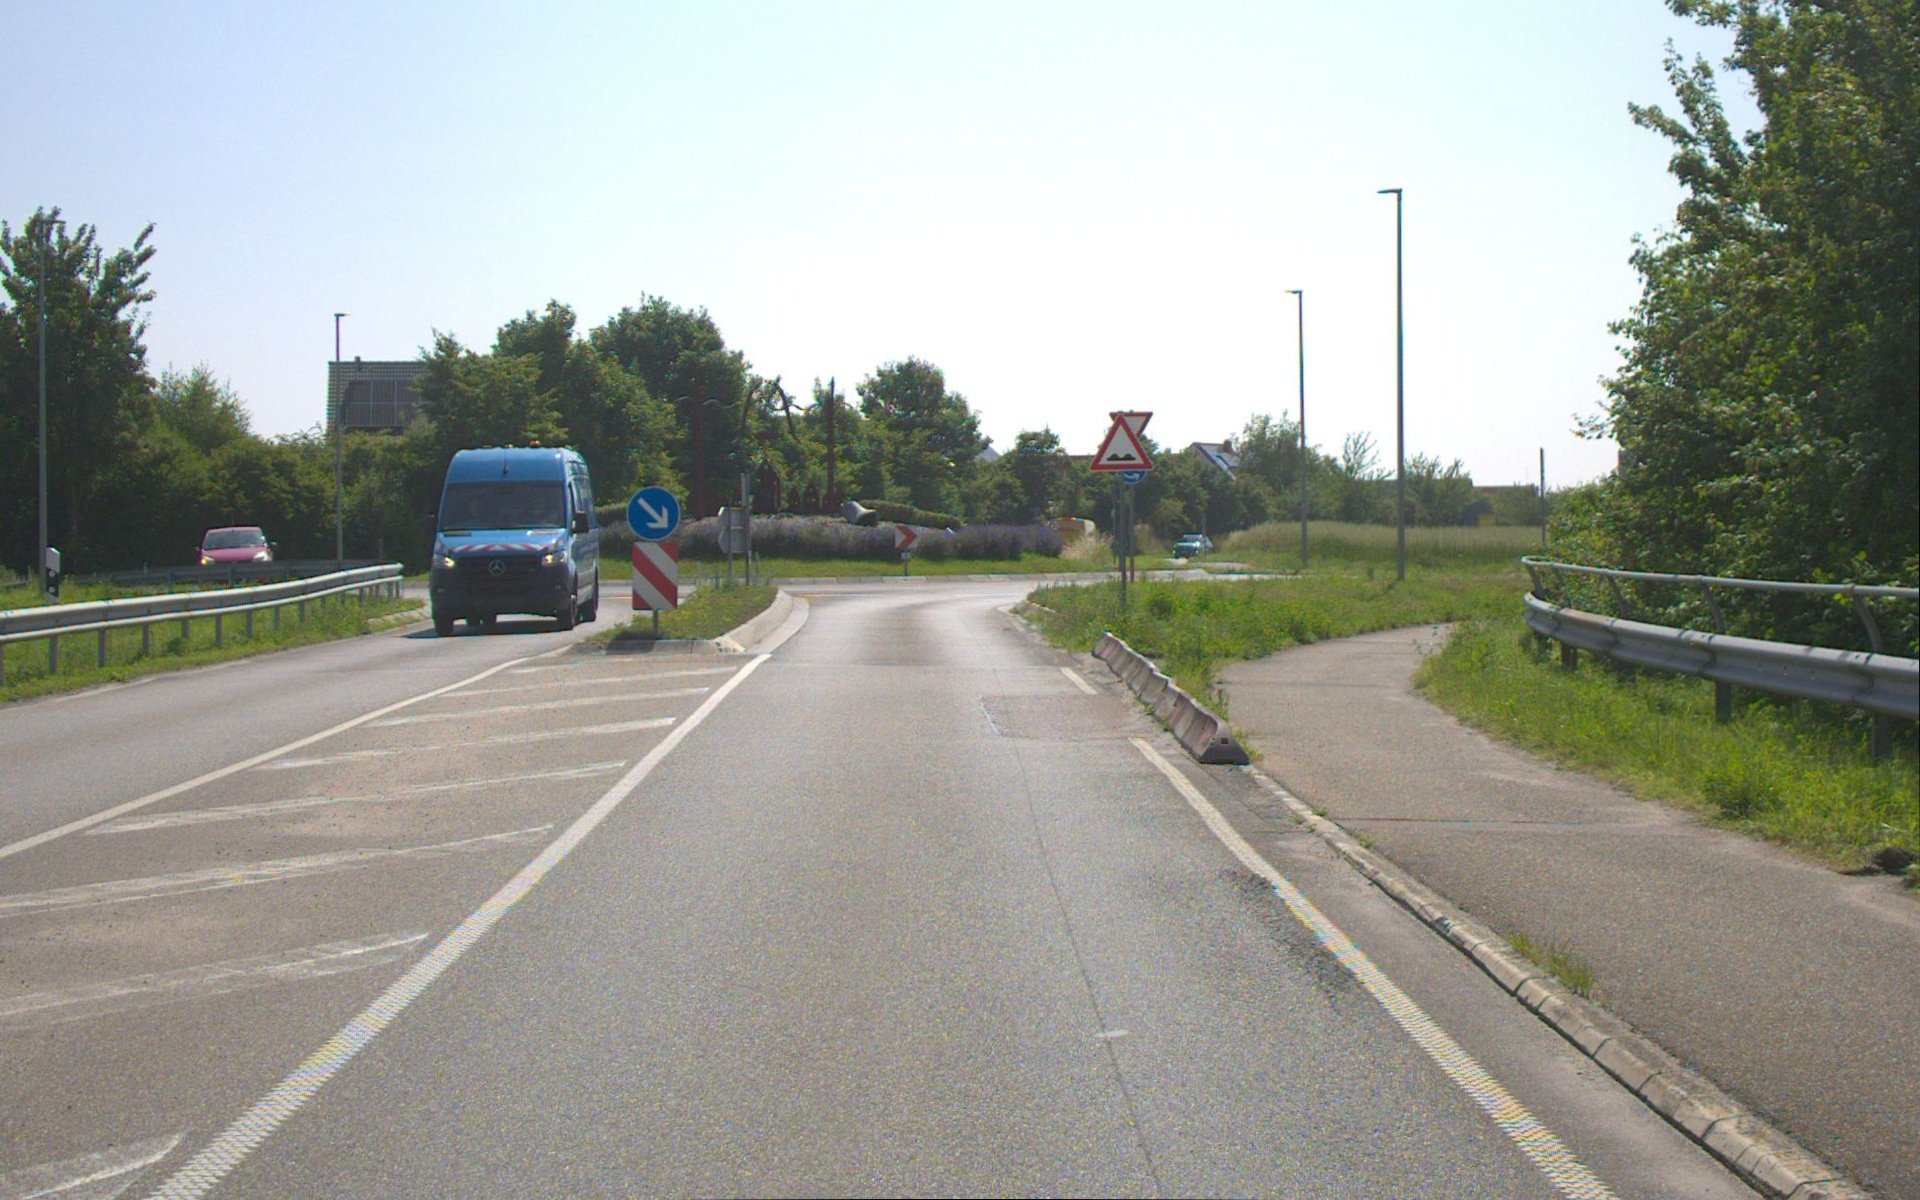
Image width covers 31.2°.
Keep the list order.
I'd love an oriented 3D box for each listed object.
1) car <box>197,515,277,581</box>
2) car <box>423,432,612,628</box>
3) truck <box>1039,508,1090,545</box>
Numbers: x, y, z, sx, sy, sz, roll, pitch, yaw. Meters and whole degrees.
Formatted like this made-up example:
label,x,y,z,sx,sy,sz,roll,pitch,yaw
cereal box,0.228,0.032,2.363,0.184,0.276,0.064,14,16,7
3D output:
label,x,y,z,sx,sy,sz,roll,pitch,yaw
car,-17.169,-1.234,81.523,1.627,1.486,3.804,-2,1,-15
car,-6.397,-1.038,50.524,1.993,2.602,7.291,-2,1,-2
truck,5.759,-4.023,188.659,1.995,2.007,3.998,0,1,14
